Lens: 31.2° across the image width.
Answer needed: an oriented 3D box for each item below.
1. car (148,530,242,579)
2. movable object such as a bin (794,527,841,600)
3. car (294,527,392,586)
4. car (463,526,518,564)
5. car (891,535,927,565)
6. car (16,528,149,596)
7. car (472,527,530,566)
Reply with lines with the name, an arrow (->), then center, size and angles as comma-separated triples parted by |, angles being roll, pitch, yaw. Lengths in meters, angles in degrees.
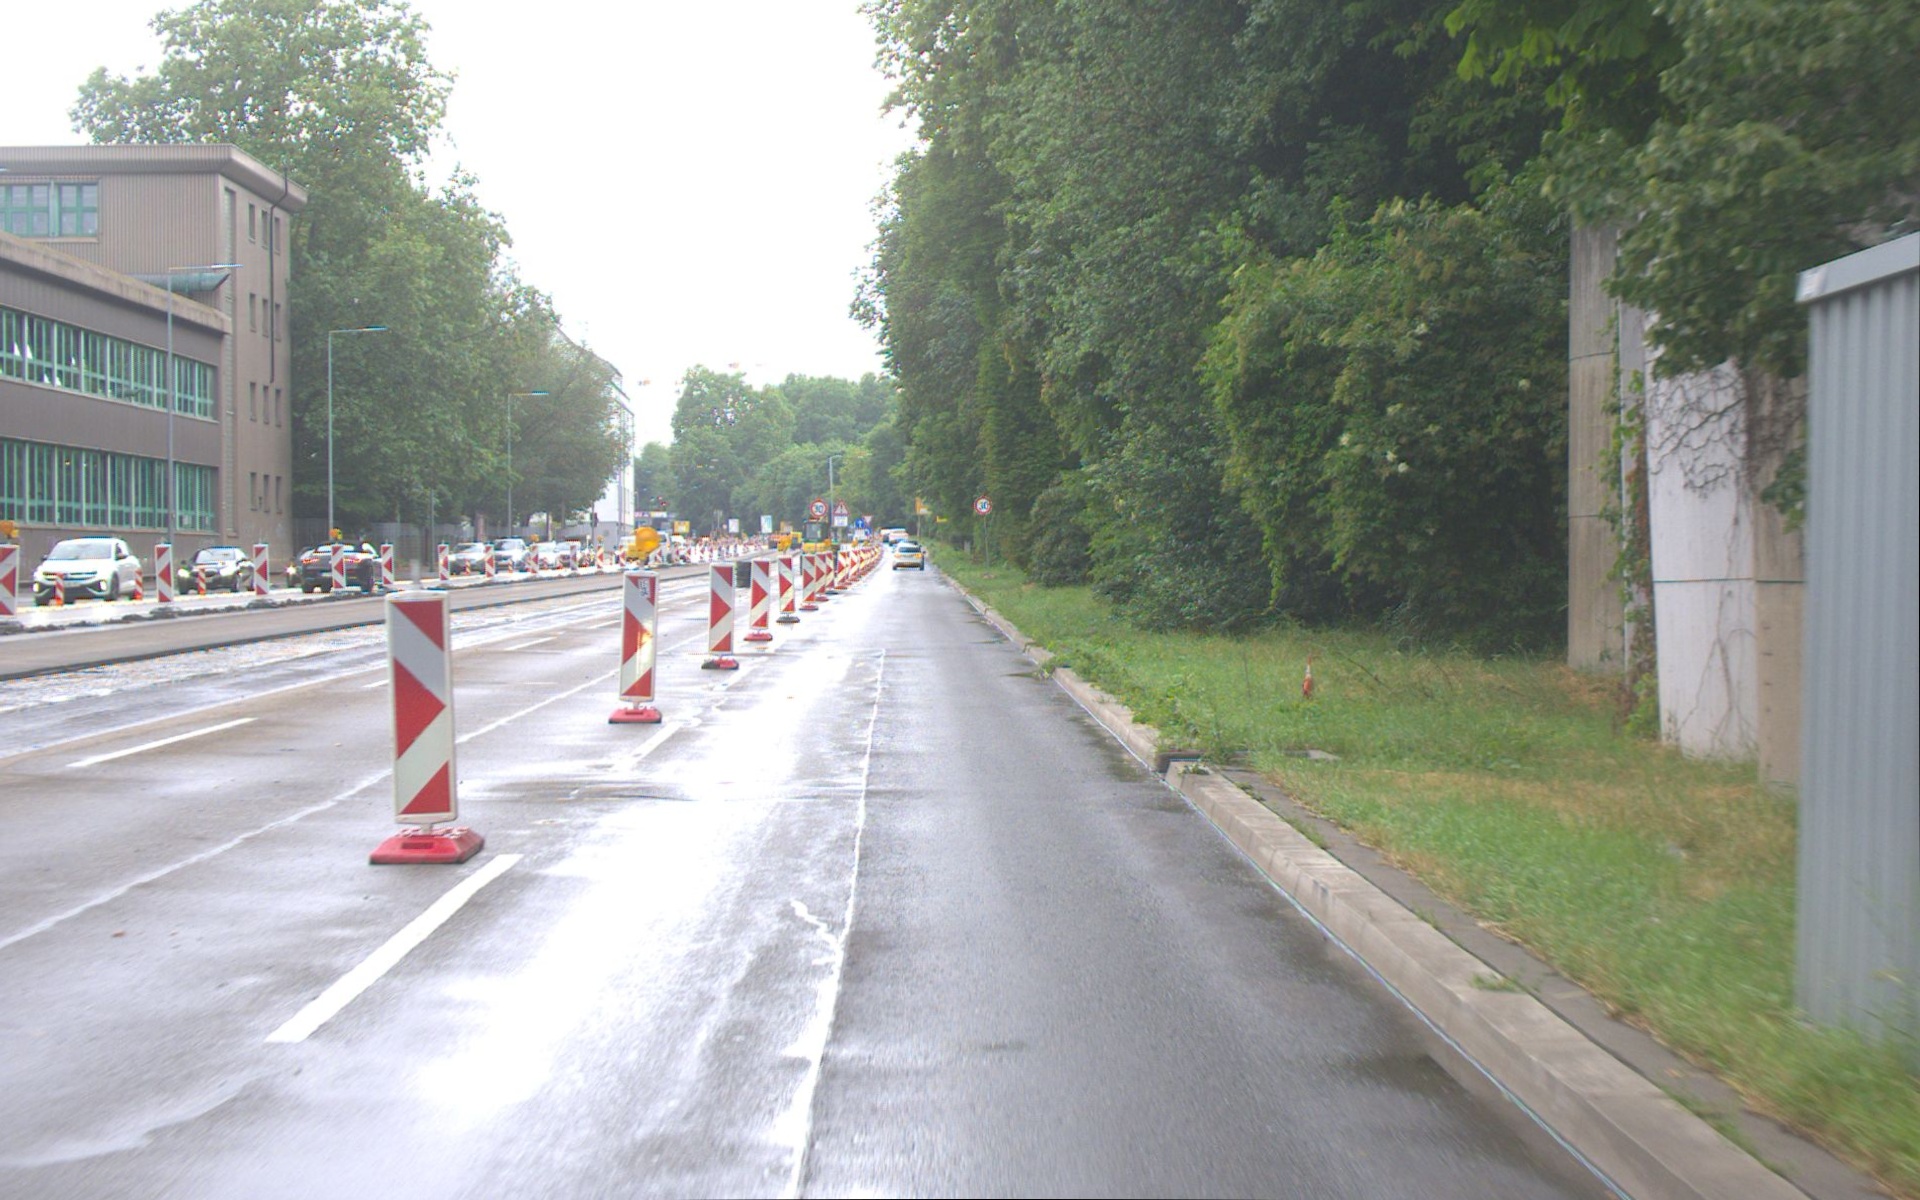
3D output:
car -> -22.784, -1.373, 102.536 | 1.993, 1.424, 4.265 | 1, 1, -2
movable object such as a bin -> -6.663, -1.716, 161.517 | 1.993, 3.356, 5.982 | 1, 0, -1
car -> -16.655, -1.166, 92.922 | 1.993, 1.514, 4.000 | 1, 1, -1
car -> -19.621, -2.302, 143.870 | 1.803, 1.529, 3.992 | 1, 1, -1
car -> -2.935, -2.873, 197.614 | 1.993, 1.667, 4.000 | 1, 1, -1
car -> -20.075, -0.882, 78.811 | 1.993, 1.508, 4.266 | 1, 1, -1
car -> -21.218, -2.461, 158.966 | 1.989, 1.762, 4.674 | 1, 1, 1
